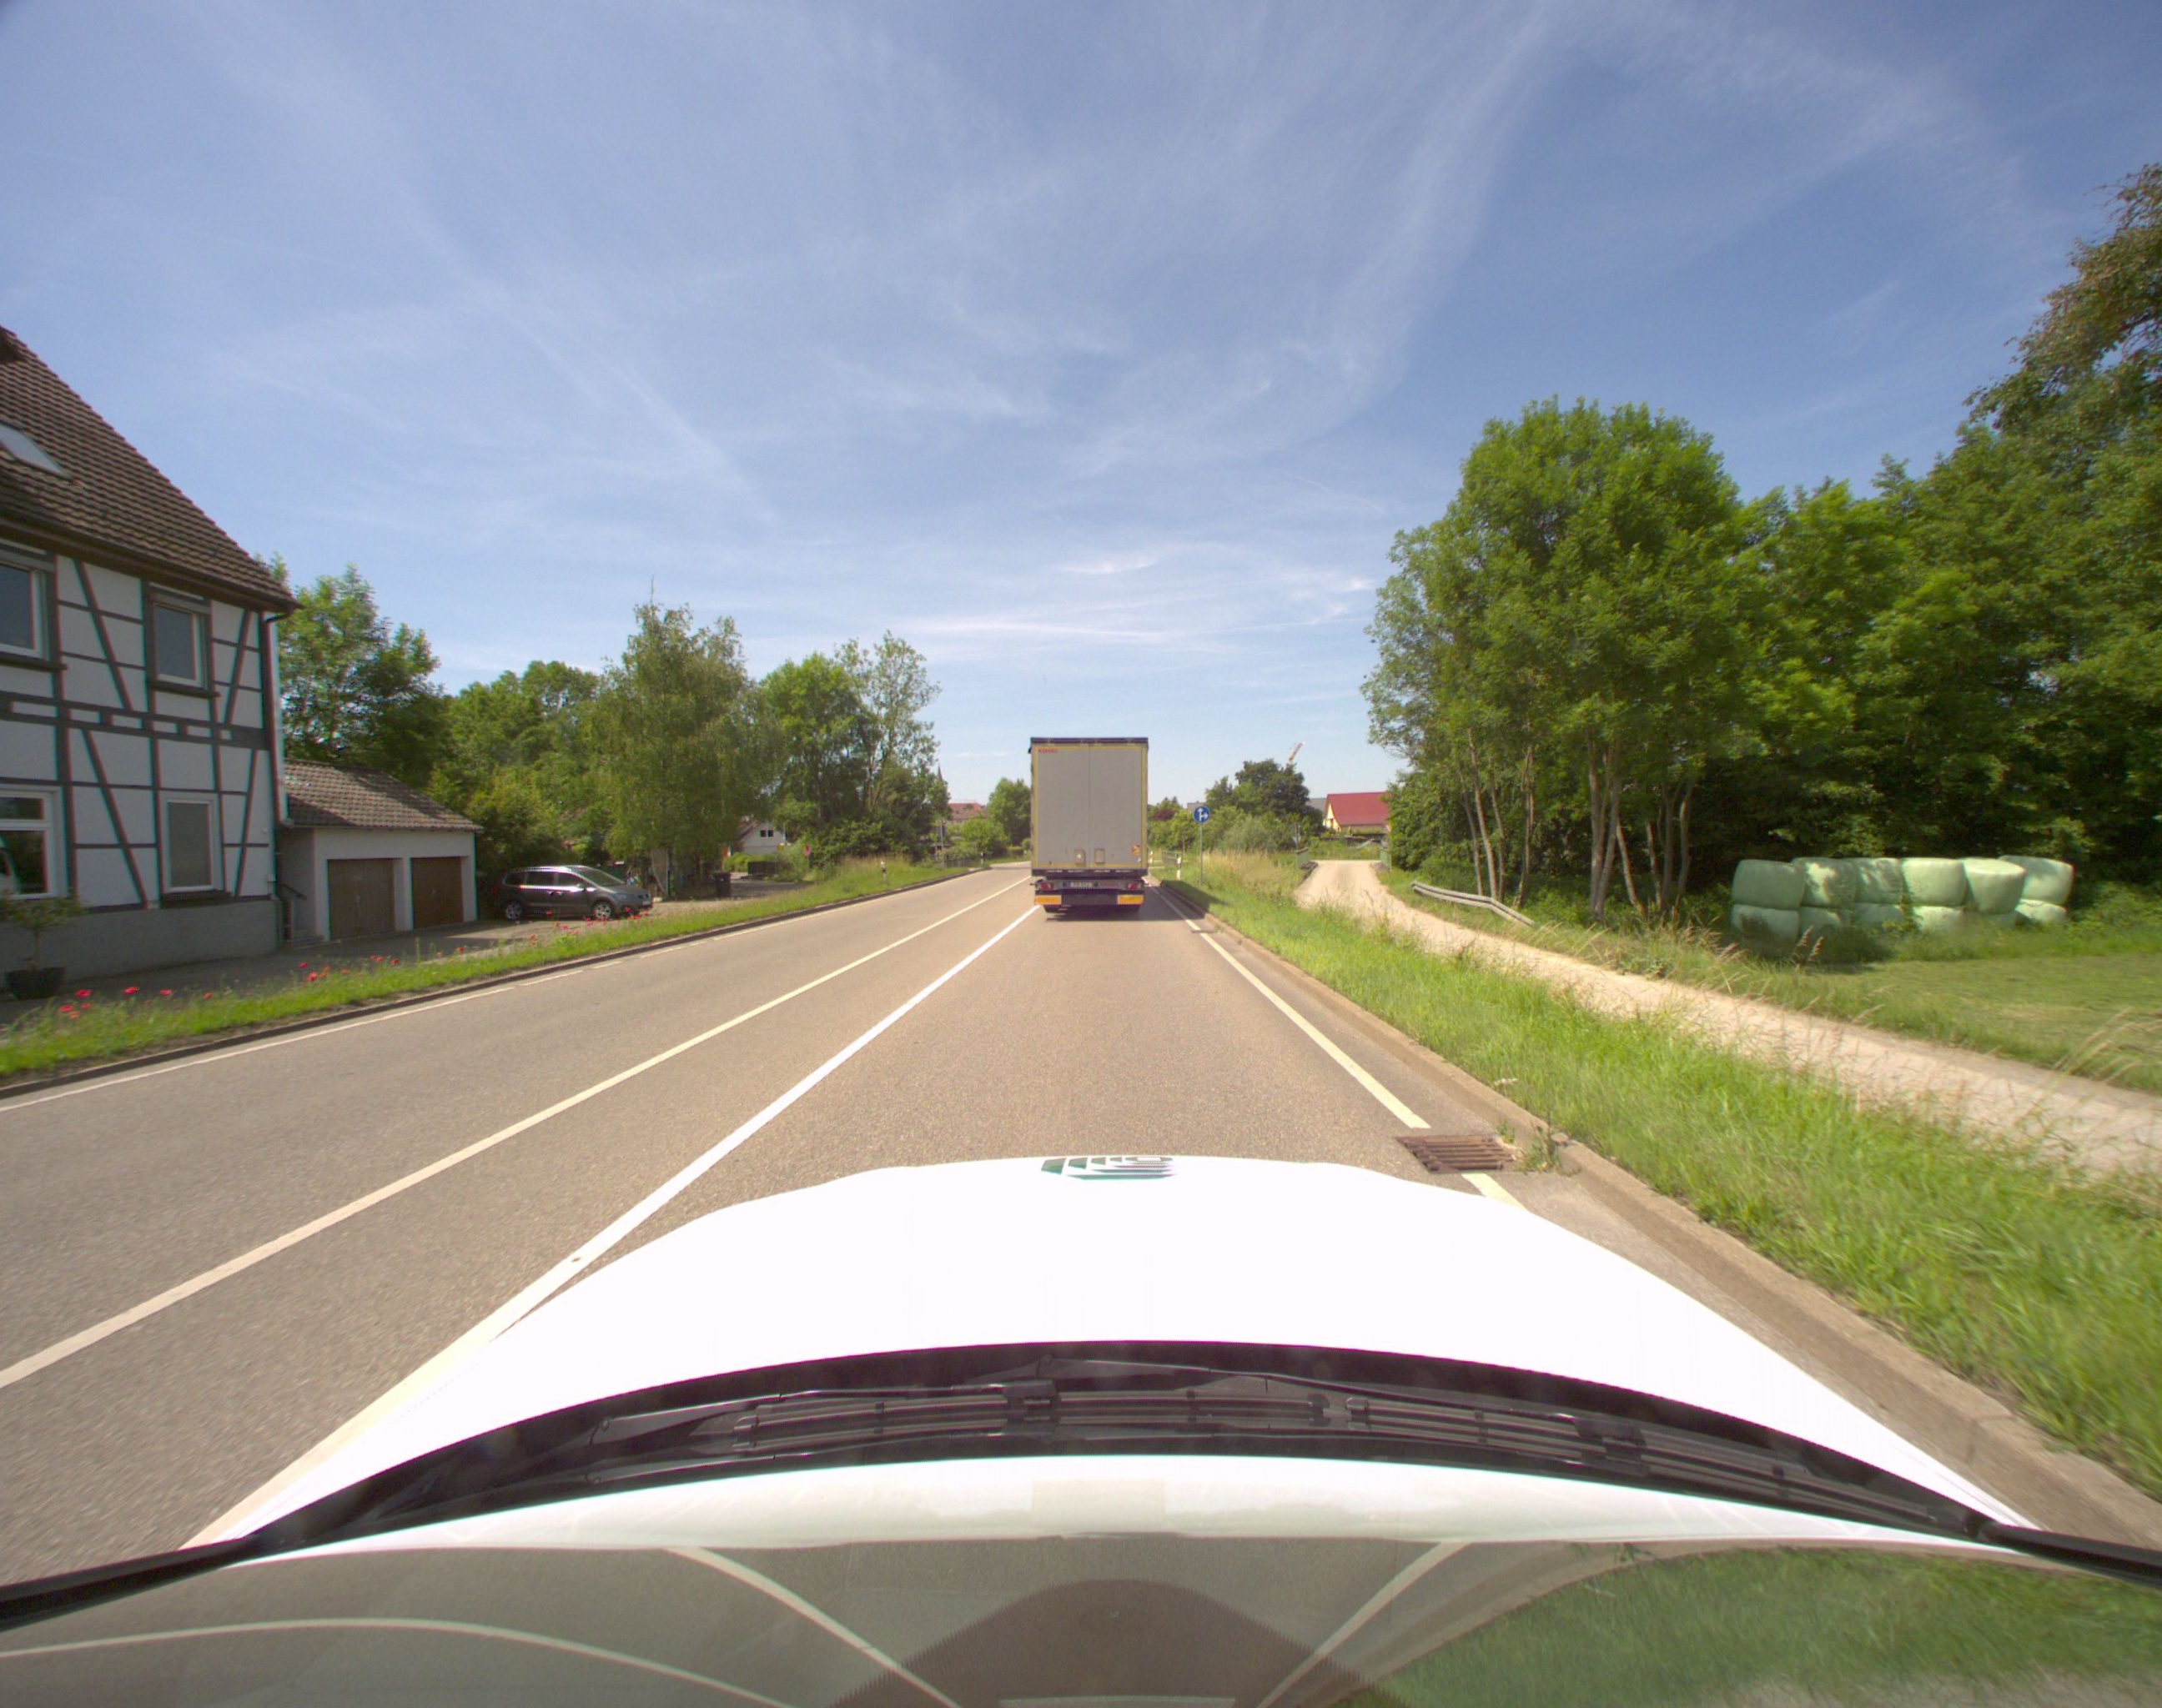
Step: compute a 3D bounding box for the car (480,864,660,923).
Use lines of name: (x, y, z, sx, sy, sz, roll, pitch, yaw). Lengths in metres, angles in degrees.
car: (-16.790, 1.265, 26.924, 4.652, 1.720, 1.860, 0, 2, -3)

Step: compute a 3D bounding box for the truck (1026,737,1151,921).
truck: (0.224, -0.540, 21.942, 2.638, 3.917, 8.826, -1, 0, 1)
